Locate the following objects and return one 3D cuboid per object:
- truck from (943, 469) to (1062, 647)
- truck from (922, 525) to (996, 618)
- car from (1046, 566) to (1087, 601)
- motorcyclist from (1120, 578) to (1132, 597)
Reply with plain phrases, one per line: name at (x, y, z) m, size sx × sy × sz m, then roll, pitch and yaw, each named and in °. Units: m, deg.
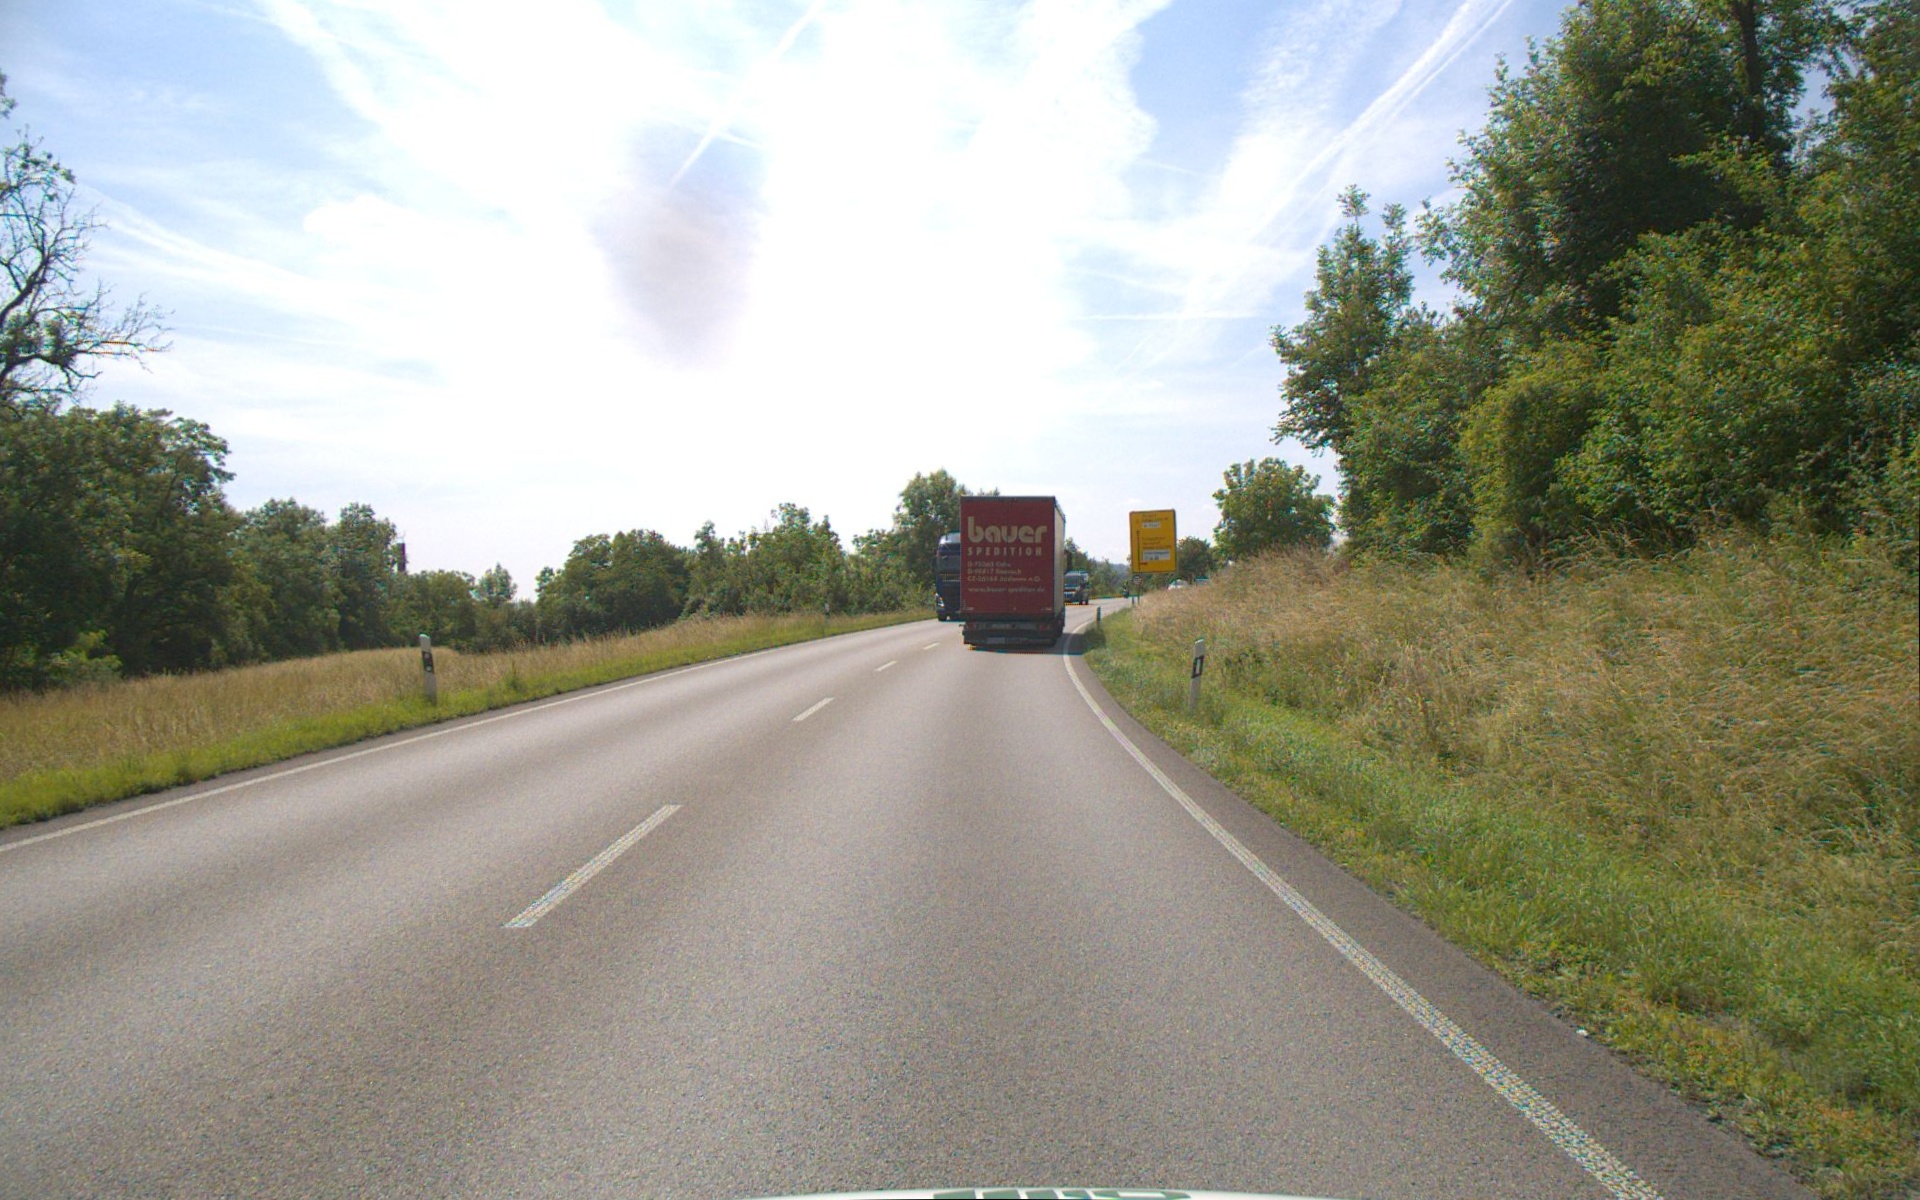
truck at (1.456, -1.156, 48.787) m, size 3.047 × 4.584 × 12.173 m, roll 0°, pitch 1°, yaw 3°
truck at (0.013, -1.323, 77.444) m, size 2.747 × 4.138 × 5.990 m, roll -1°, pitch 0°, yaw 6°
car at (7.786, -1.219, 120.203) m, size 2.124 × 2.343 × 4.911 m, roll -4°, pitch 0°, yaw 12°
motorcyclist at (15.048, -1.116, 150.053) m, size 0.899 × 1.748 × 0.963 m, roll -1°, pitch 0°, yaw 15°
